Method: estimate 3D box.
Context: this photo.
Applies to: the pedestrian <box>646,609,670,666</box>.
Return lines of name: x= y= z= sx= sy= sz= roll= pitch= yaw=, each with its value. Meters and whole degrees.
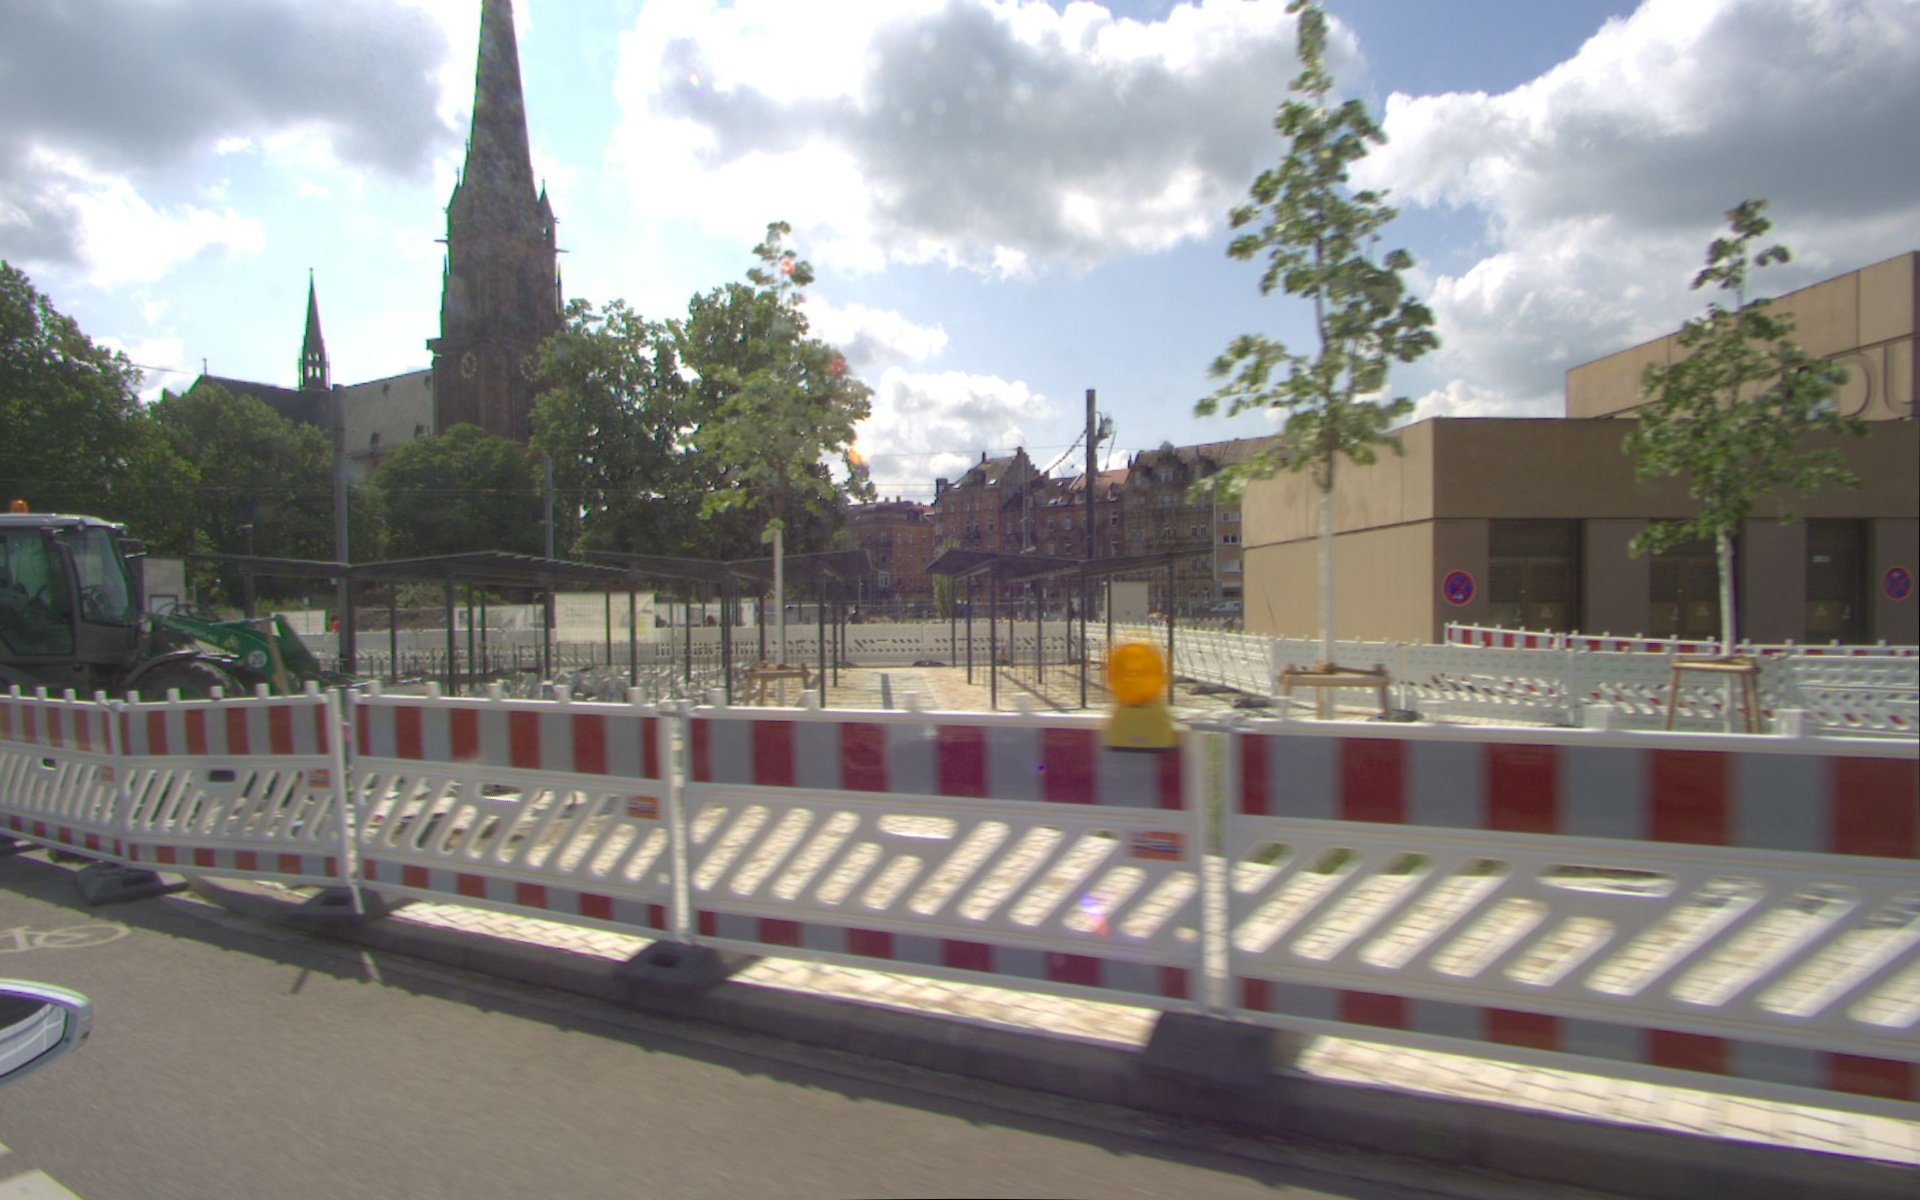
pedestrian: x=-10.997 y=1.366 z=36.473 sx=0.736 sy=2.040 sz=0.762 roll=0 pitch=1 yaw=-8

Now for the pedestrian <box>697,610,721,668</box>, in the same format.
pedestrian: x=-9.051 y=1.396 z=36.163 sx=0.748 sy=2.040 sz=0.750 roll=0 pitch=1 yaw=-6

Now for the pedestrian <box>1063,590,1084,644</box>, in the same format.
pedestrian: x=4.326 y=0.653 z=38.167 sx=0.689 sy=2.040 sz=0.555 roll=0 pitch=1 yaw=-4

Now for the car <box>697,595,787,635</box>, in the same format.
car: x=-10.629 y=0.705 z=48.984 sx=4.099 sy=1.907 sz=1.802 roll=0 pitch=0 yaw=-5

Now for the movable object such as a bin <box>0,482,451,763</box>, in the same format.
movable object such as a bin: x=-9.281 y=0.246 z=11.764 sx=5.440 sy=2.923 sz=2.285 roll=0 pitch=0 yaw=-13

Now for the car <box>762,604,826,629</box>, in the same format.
car: x=-12.115 y=1.191 z=73.137 sx=4.286 sy=1.817 sz=1.783 roll=0 pitch=0 yaw=5
